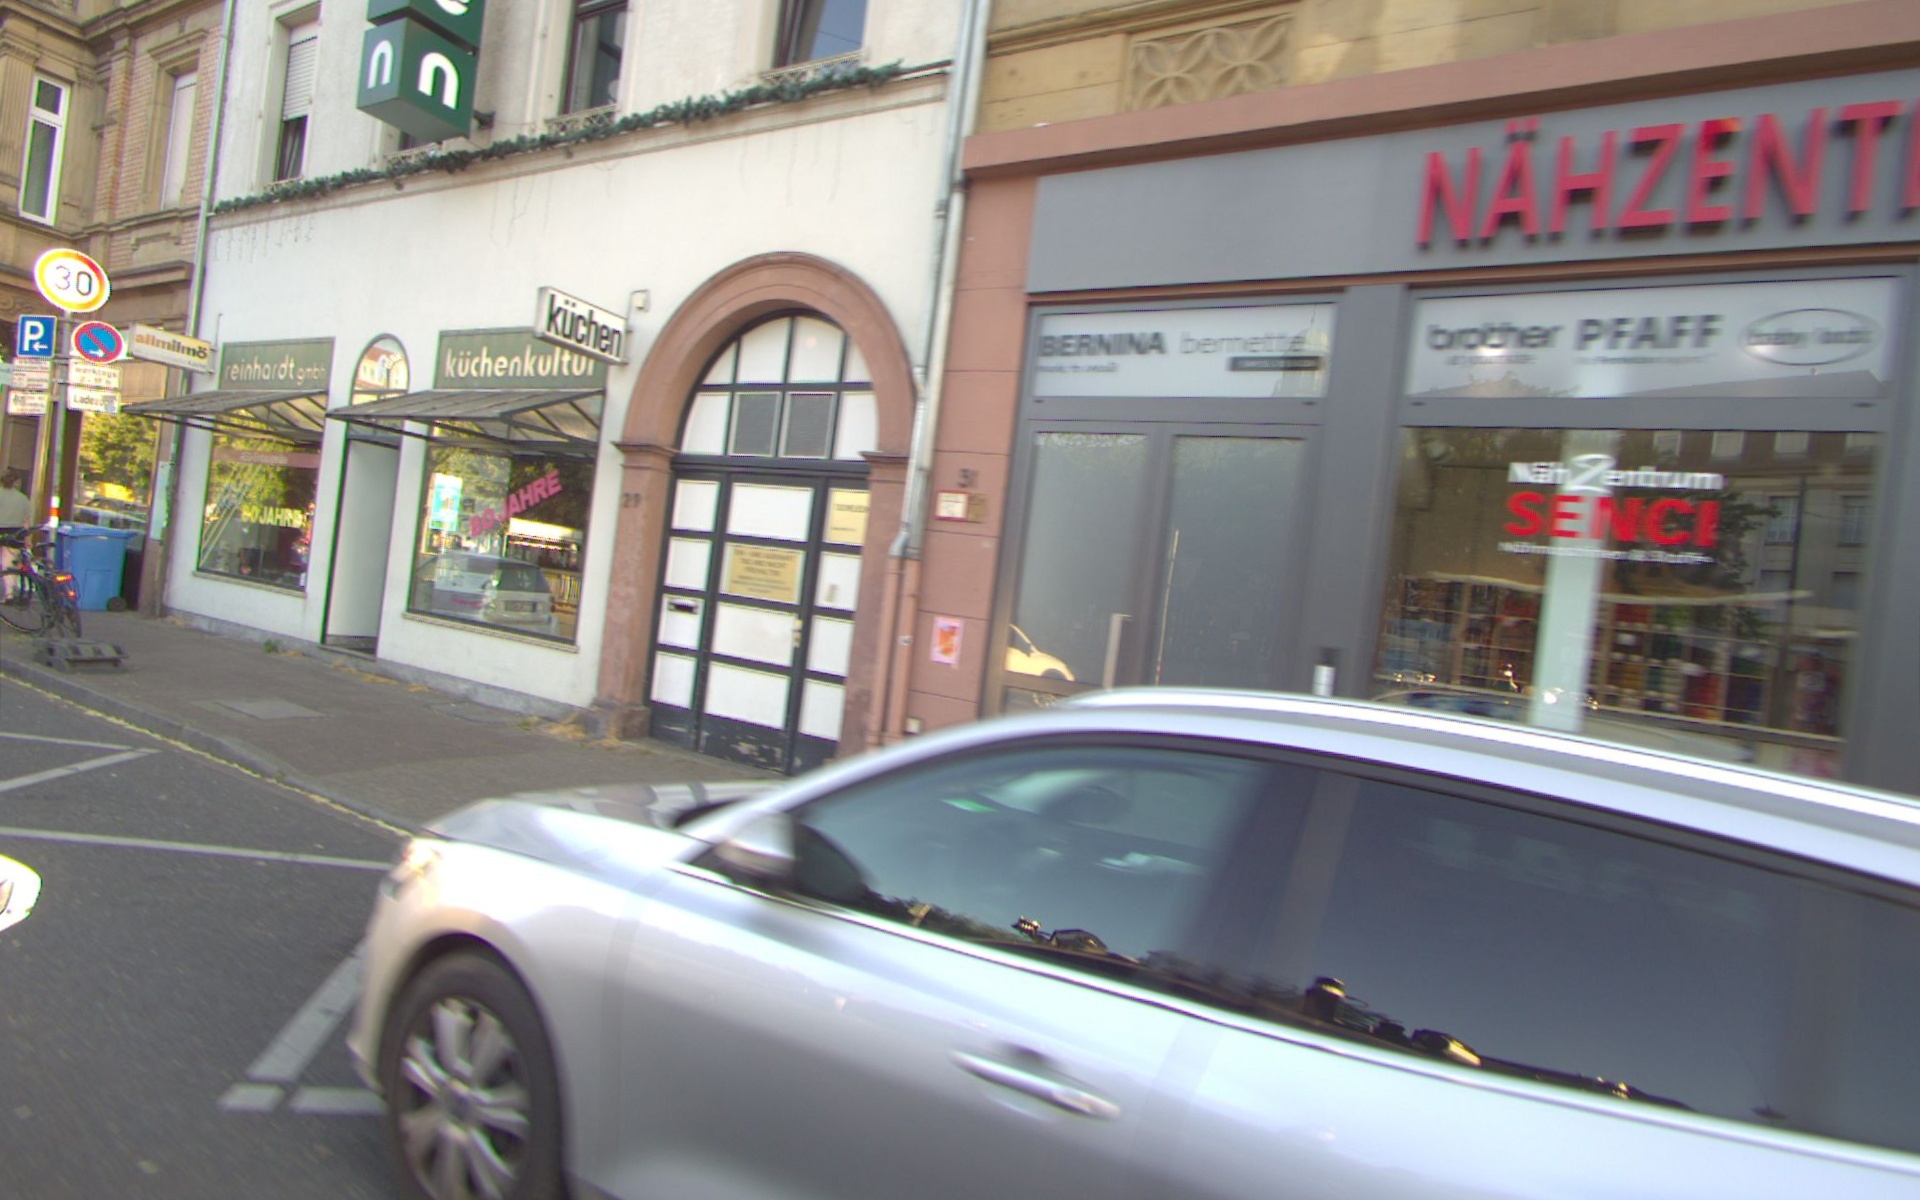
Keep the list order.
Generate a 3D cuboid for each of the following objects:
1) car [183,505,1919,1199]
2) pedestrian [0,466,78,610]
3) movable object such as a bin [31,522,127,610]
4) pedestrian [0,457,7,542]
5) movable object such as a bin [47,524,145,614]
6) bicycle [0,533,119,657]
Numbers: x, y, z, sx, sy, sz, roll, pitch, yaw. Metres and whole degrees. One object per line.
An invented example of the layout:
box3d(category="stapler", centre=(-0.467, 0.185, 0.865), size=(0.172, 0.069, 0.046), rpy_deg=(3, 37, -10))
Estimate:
box3d(category="car", centre=(0.580, 0.859, 2.219), size=(4.739, 1.554, 1.764), rpy_deg=(7, -3, 29))
box3d(category="pedestrian", centre=(-12.091, -0.812, 12.911), size=(1.024, 1.734, 0.773), rpy_deg=(8, 2, 30))
box3d(category="movable object such as a bin", centre=(-11.852, -0.451, 13.544), size=(0.607, 1.084, 0.775), rpy_deg=(7, 2, 30))
box3d(category="pedestrian", centre=(-12.323, -0.890, 12.194), size=(0.993, 1.851, 0.773), rpy_deg=(8, 2, 30))
box3d(category="movable object such as a bin", centre=(-11.331, -0.400, 13.200), size=(0.607, 1.084, 0.775), rpy_deg=(7, 2, 30))
box3d(category="bicycle", centre=(-9.172, -0.076, 10.034), size=(1.914, 1.028, 0.505), rpy_deg=(7, 1, 30))
